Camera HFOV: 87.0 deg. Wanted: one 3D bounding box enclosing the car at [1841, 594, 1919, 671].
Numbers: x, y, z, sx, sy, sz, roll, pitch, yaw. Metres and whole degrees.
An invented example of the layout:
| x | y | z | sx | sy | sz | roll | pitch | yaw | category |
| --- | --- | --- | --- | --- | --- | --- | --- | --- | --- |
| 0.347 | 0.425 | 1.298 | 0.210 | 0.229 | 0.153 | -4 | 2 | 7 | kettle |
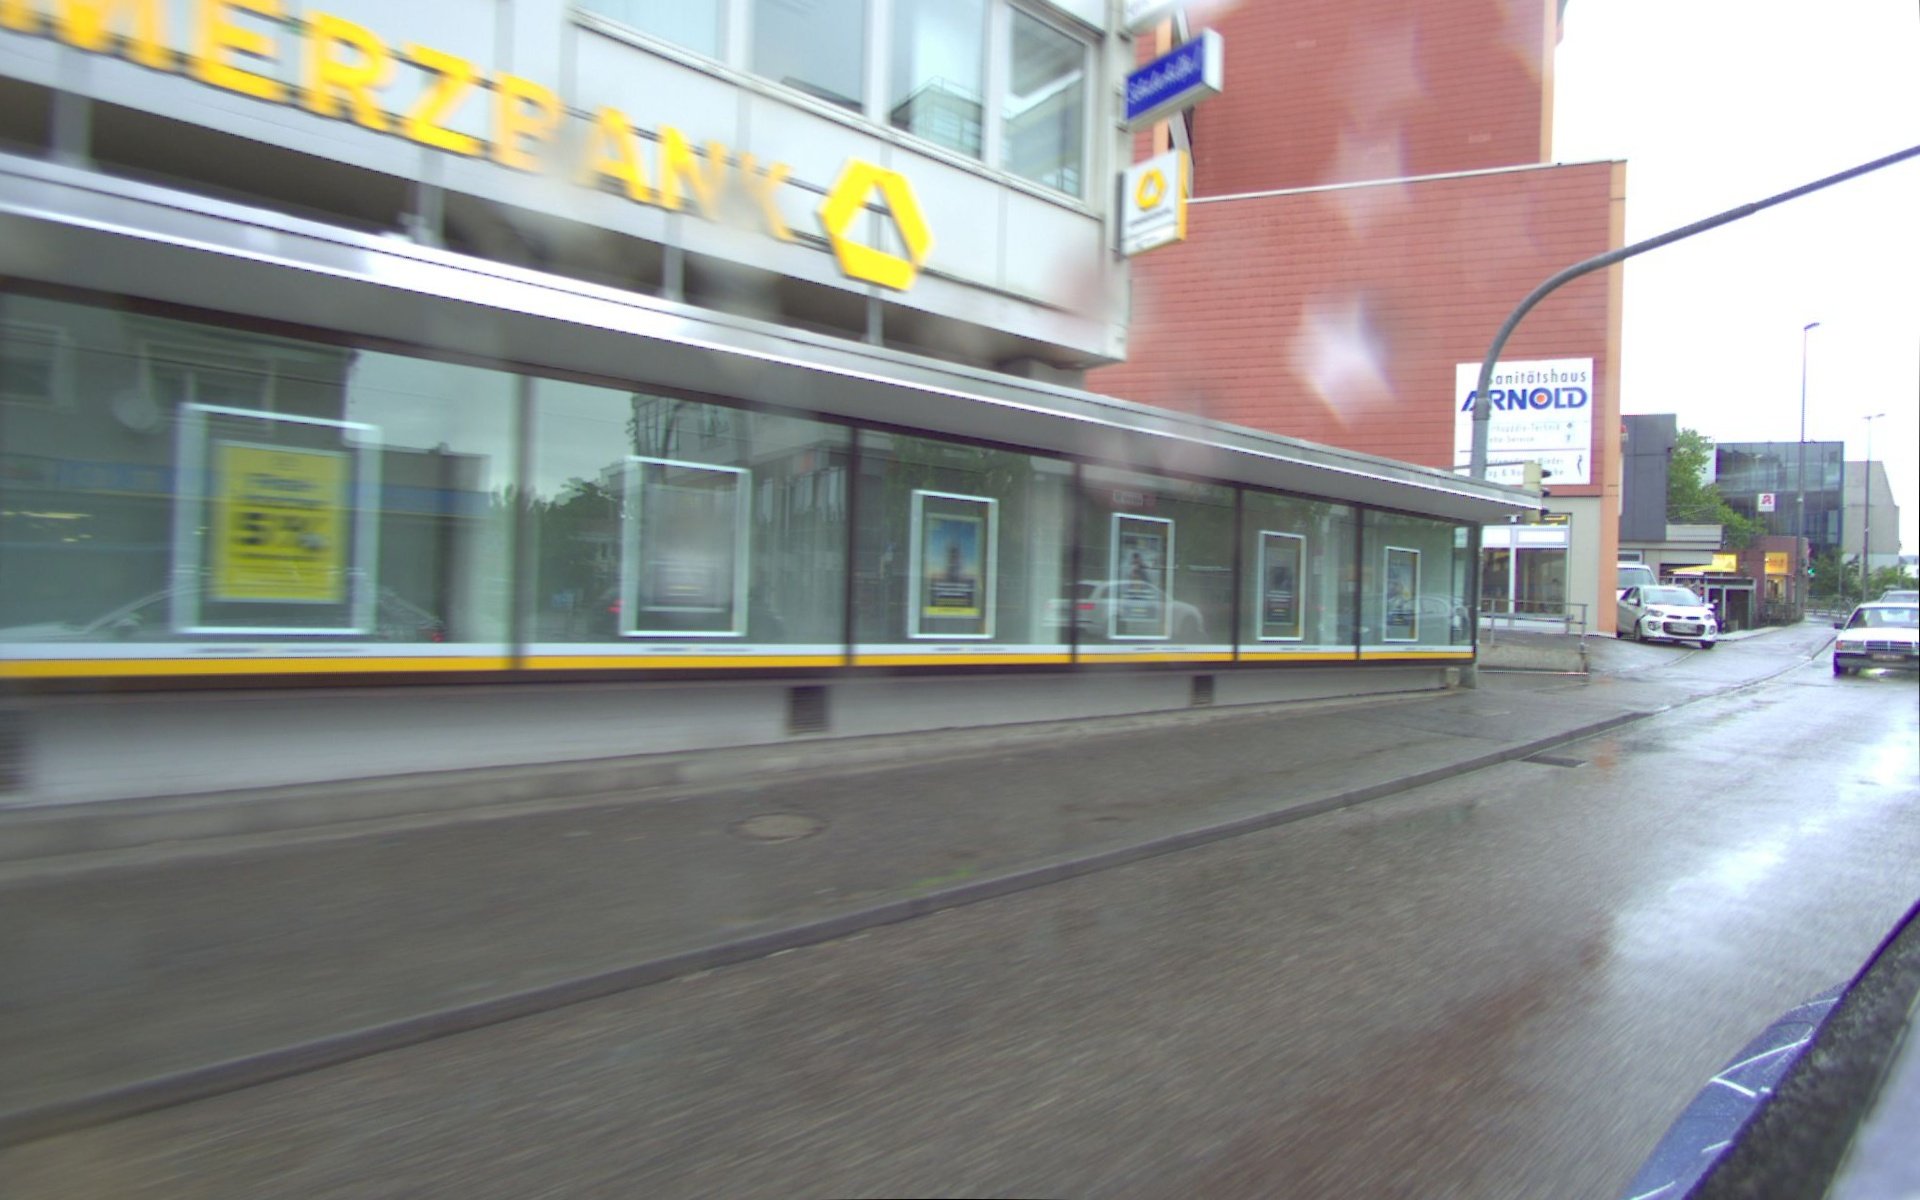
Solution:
| x | y | z | sx | sy | sz | roll | pitch | yaw | category |
| --- | --- | --- | --- | --- | --- | --- | --- | --- | --- |
| 18.724 | 0.583 | 19.859 | 3.926 | 1.324 | 1.661 | -1 | 2 | -42 | car |

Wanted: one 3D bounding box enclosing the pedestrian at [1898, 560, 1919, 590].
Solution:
| x | y | z | sx | sy | sz | roll | pitch | yaw | category |
| --- | --- | --- | --- | --- | --- | --- | --- | --- | --- |
| 58.758 | -1.537 | 62.677 | 0.782 | 1.825 | 0.689 | 0 | 4 | -34 | pedestrian |

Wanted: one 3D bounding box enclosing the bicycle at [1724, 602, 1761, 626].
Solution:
| x | y | z | sx | sy | sz | roll | pitch | yaw | category |
| --- | --- | --- | --- | --- | --- | --- | --- | --- | --- |
| 33.964 | 0.618 | 43.962 | 0.523 | 0.949 | 1.573 | 3 | 2 | 9 | bicycle |

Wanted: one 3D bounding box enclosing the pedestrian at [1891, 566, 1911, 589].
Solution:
| x | y | z | sx | sy | sz | roll | pitch | yaw | category |
| --- | --- | --- | --- | --- | --- | --- | --- | --- | --- |
| 57.605 | -1.392 | 61.940 | 0.757 | 1.396 | 0.689 | 0 | 4 | -34 | pedestrian |

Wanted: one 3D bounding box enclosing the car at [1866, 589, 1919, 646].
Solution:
| x | y | z | sx | sy | sz | roll | pitch | yaw | category |
| --- | --- | --- | --- | --- | --- | --- | --- | --- | --- |
| 30.405 | 0.516 | 32.125 | 4.405 | 1.667 | 2.056 | -1 | 2 | -43 | car |

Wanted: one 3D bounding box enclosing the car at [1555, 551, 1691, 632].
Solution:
| x | y | z | sx | sy | sz | roll | pitch | yaw | category |
| --- | --- | --- | --- | --- | --- | --- | --- | --- | --- |
| 20.428 | -0.188 | 31.453 | 1.979 | 2.237 | 4.851 | 3 | -1 | 15 | car |

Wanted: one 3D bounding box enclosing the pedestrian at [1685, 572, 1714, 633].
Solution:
| x | y | z | sx | sy | sz | roll | pitch | yaw | category |
| --- | --- | --- | --- | --- | --- | --- | --- | --- | --- |
| 21.840 | 0.074 | 29.880 | 0.593 | 1.789 | 0.591 | 2 | 0 | 44 | pedestrian |

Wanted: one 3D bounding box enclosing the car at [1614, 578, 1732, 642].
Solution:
| x | y | z | sx | sy | sz | roll | pitch | yaw | category |
| --- | --- | --- | --- | --- | --- | --- | --- | --- | --- |
| 18.034 | 0.199 | 25.765 | 1.596 | 1.480 | 3.401 | 1 | 2 | 21 | car |
